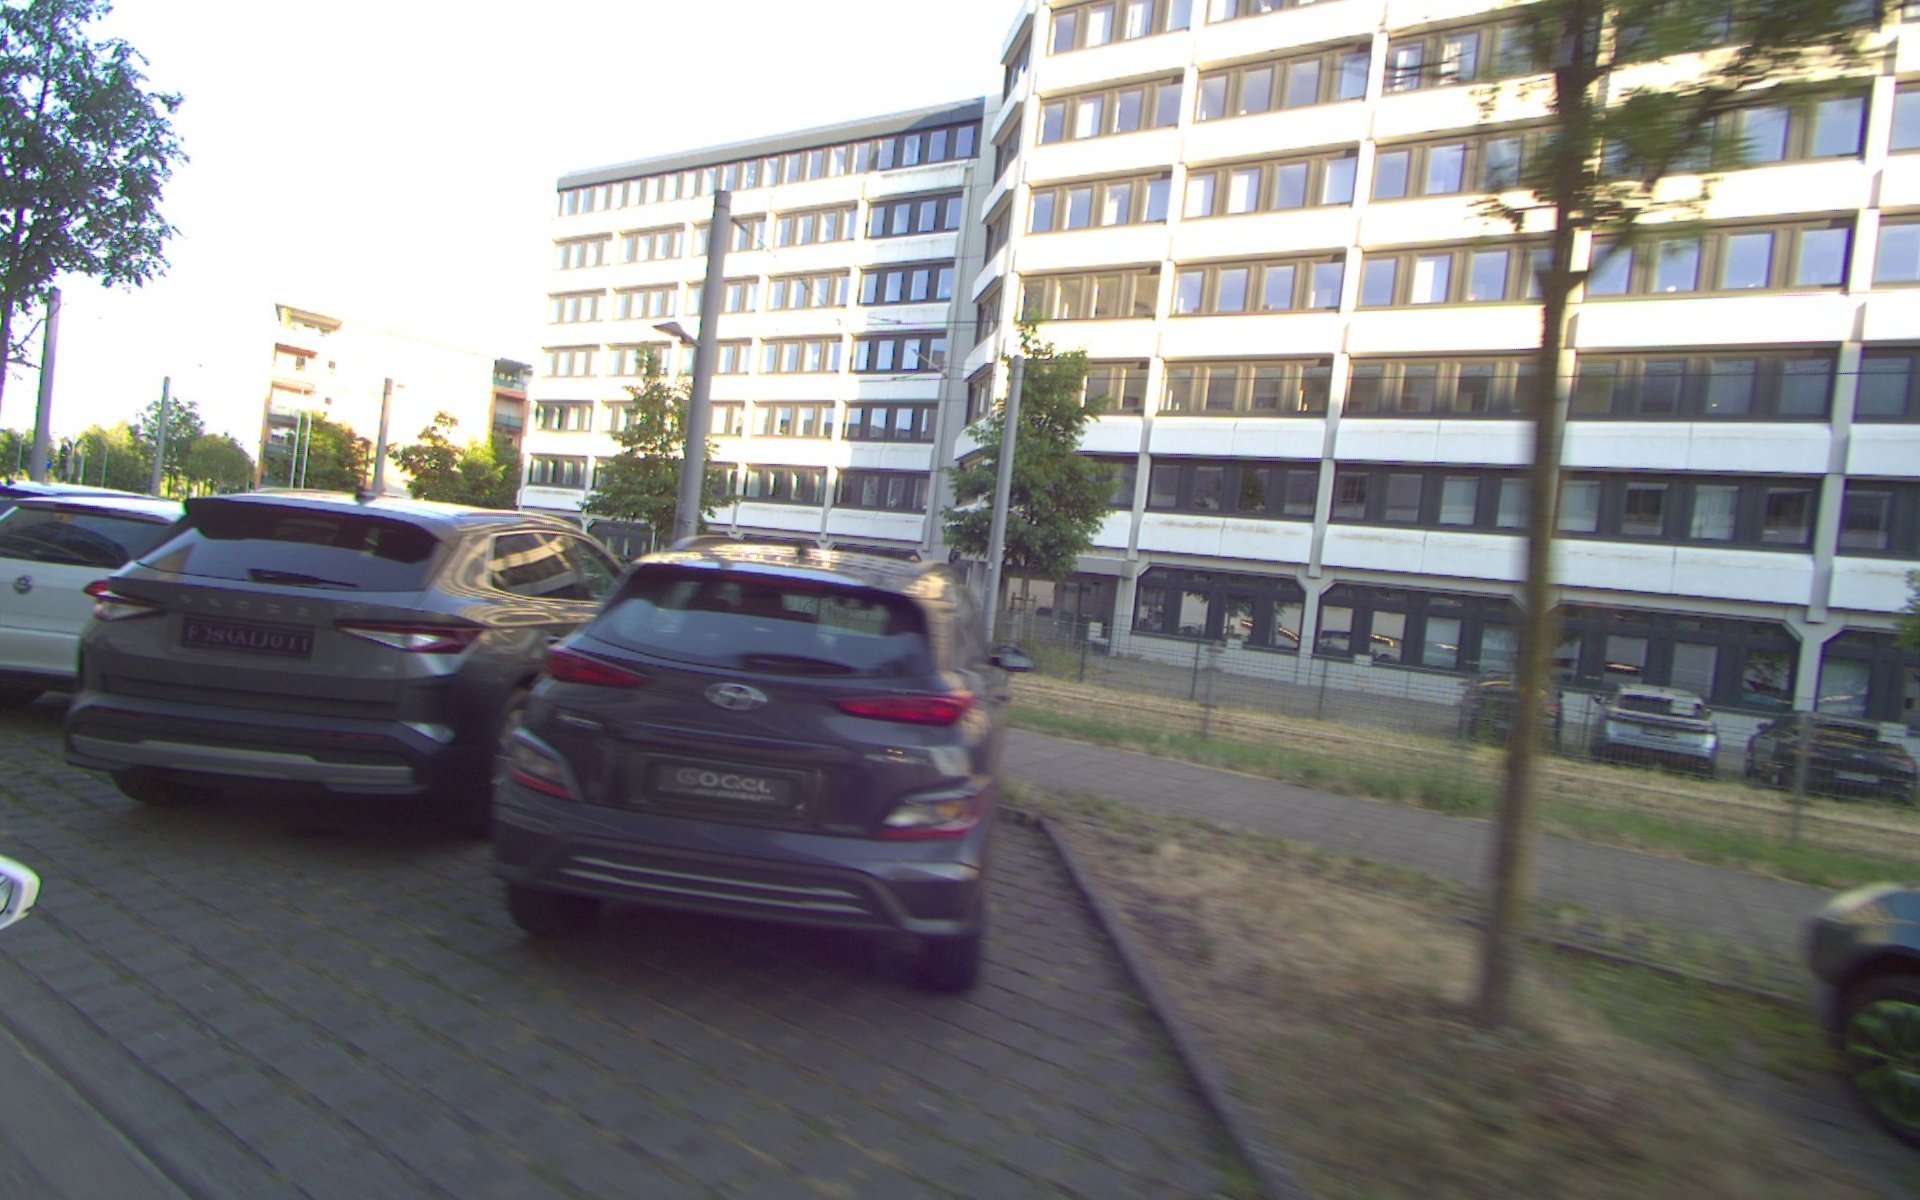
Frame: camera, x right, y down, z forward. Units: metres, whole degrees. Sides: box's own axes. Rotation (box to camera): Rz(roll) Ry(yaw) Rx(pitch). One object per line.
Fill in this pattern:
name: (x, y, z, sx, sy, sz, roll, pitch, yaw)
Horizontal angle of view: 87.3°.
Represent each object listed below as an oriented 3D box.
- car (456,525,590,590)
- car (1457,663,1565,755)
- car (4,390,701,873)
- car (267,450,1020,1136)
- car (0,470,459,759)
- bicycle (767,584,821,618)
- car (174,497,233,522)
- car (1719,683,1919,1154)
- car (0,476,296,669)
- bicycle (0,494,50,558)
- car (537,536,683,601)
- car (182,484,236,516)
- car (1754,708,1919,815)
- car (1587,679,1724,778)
car: (-17.382, -1.671, 40.211, 1.900, 1.960, 4.500, 7, 0, 32)
car: (10.963, 2.176, 20.040, 1.564, 1.414, 3.998, 8, -2, 29)
car: (-2.983, 0.176, 6.034, 1.732, 1.746, 3.779, 8, -1, -1)
car: (-0.784, 0.494, 4.741, 1.936, 1.661, 3.985, 6, 1, 4)
car: (-5.791, -0.035, 7.520, 1.920, 1.529, 3.930, 7, 2, 2)
bicycle: (-7.807, 0.048, 47.300, 2.391, 1.214, 0.830, 8, -2, 32)
car: (-69.355, -8.261, 92.335, 4.127, 1.595, 1.687, 7, 0, -34)
car: (4.093, 1.160, 2.158, 1.732, 1.459, 3.777, 9, -1, -4)
car: (-8.462, -0.301, 9.624, 1.657, 1.527, 3.754, 8, -1, -2)
bicycle: (-18.175, -1.455, 19.203, 1.663, 1.096, 0.764, 7, 1, 35)
car: (-11.692, -1.020, 33.878, 1.665, 1.622, 4.502, 7, 0, 31)
car: (-75.640, -10.052, 101.417, 4.132, 2.616, 1.685, 7, 0, -37)
car: (15.251, 2.738, 17.420, 1.564, 1.414, 3.998, 8, -2, 29)
car: (12.862, 2.373, 18.817, 1.564, 1.414, 3.998, 8, -2, 29)
